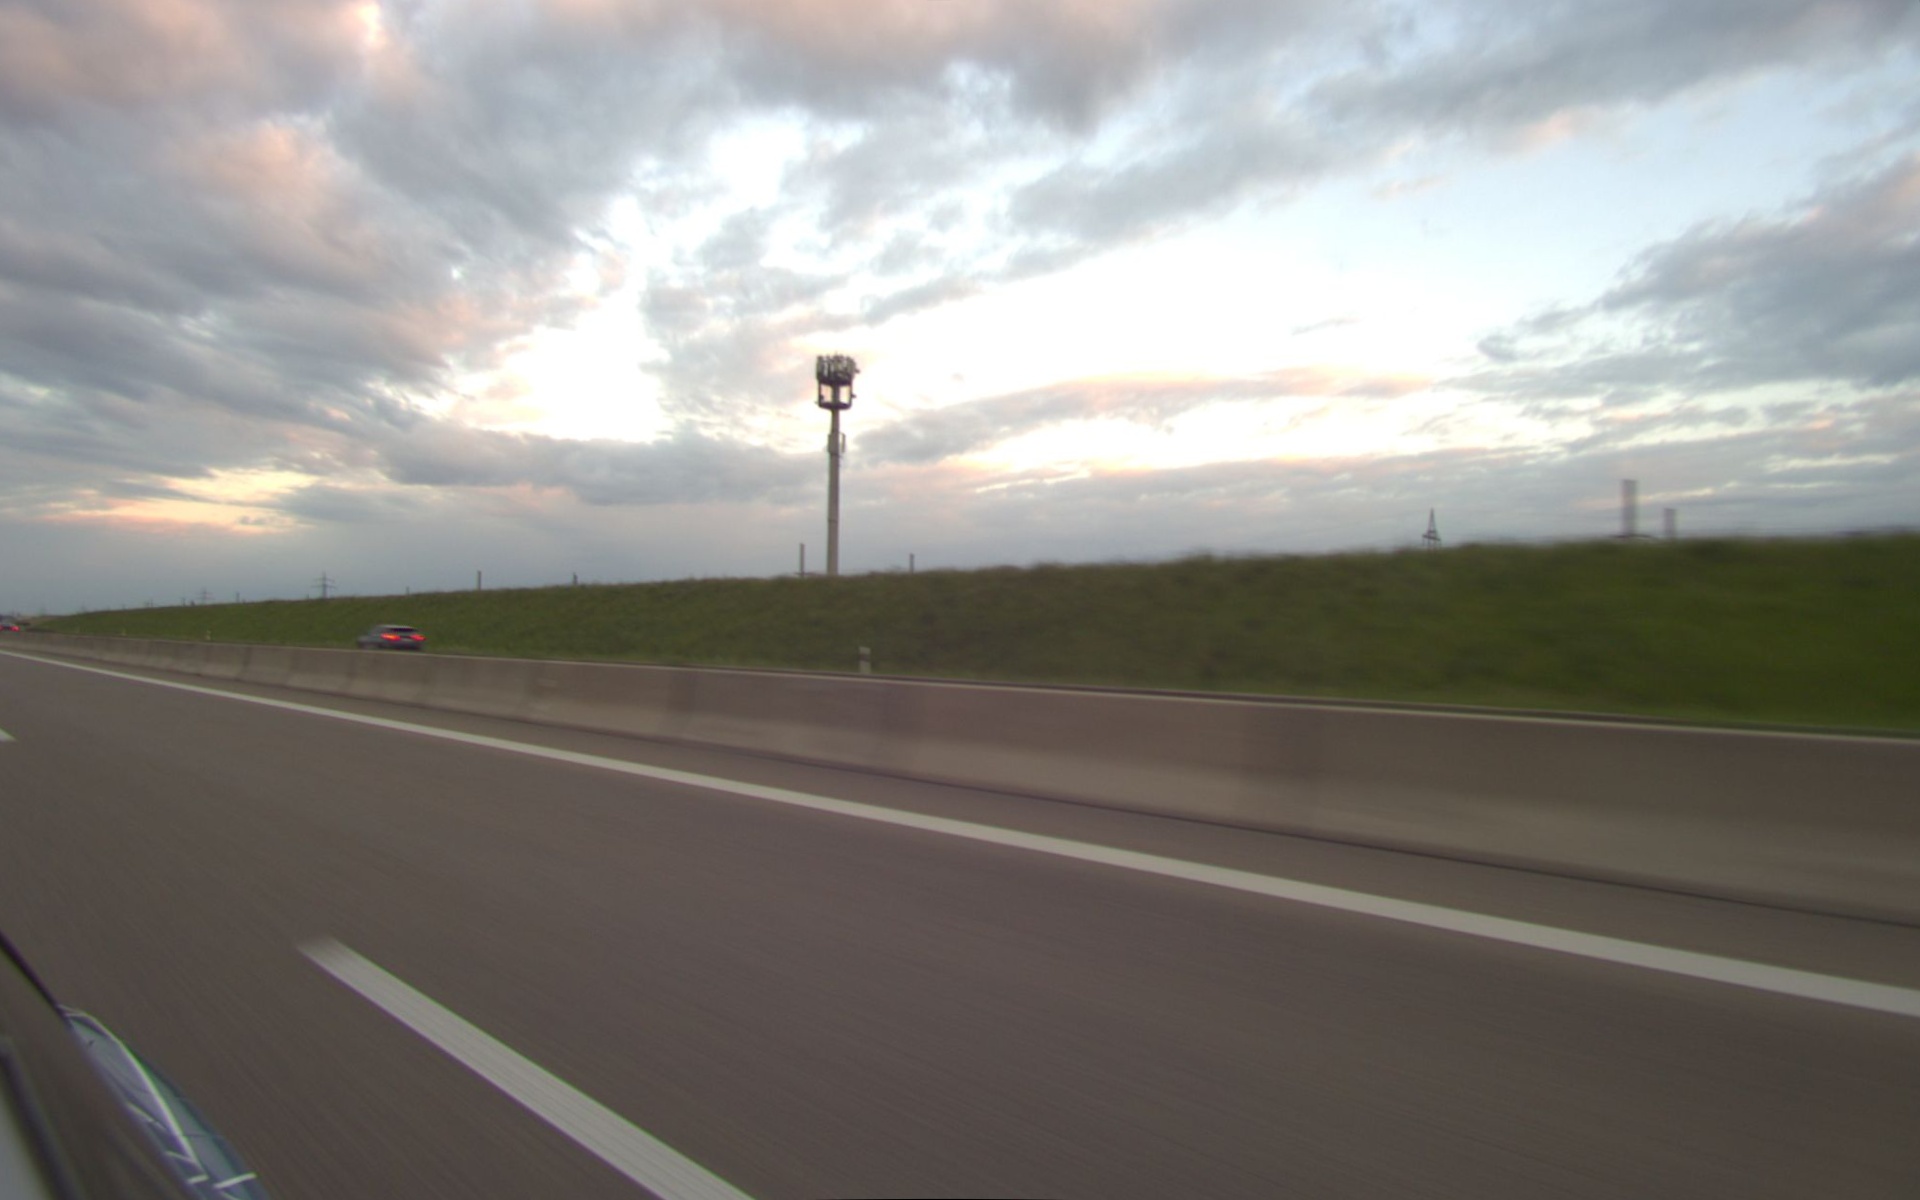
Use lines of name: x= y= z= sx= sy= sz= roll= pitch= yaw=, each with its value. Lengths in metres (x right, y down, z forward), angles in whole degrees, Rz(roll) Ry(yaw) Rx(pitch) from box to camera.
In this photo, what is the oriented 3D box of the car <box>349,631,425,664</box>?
car: x=-28.526 y=2.341 z=50.300 sx=4.579 sy=1.565 sz=1.842 roll=-1 pitch=-3 yaw=41
